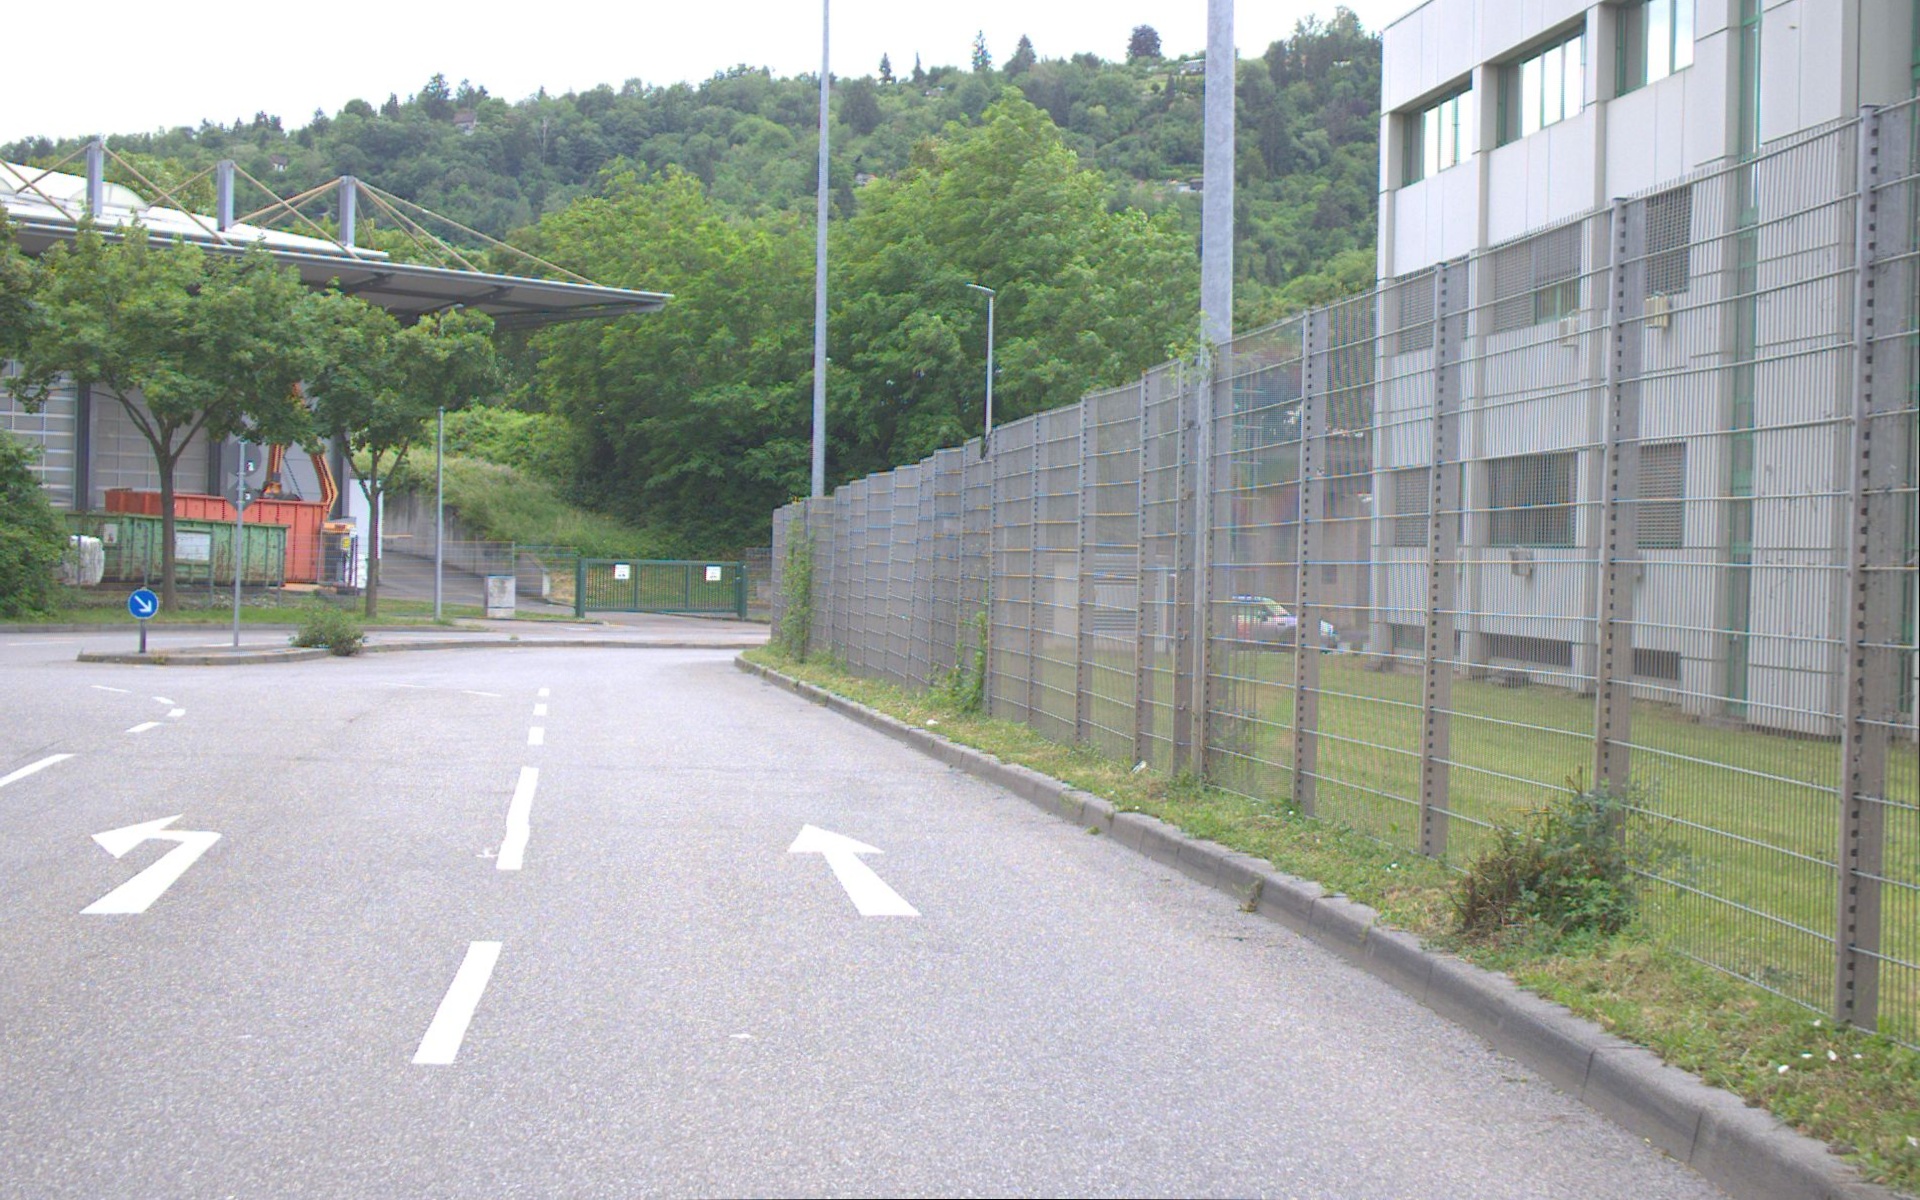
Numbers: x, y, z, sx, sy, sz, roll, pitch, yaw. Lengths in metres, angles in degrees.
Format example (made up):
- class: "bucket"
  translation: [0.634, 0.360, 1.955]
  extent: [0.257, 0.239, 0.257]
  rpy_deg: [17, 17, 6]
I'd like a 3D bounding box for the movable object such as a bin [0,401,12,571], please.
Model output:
- class: "movable object such as a bin"
  translation: [-25.560, -2.735, 80.451]
  extent: [2.729, 4.077, 6.542]
  rpy_deg: [1, 1, 28]
